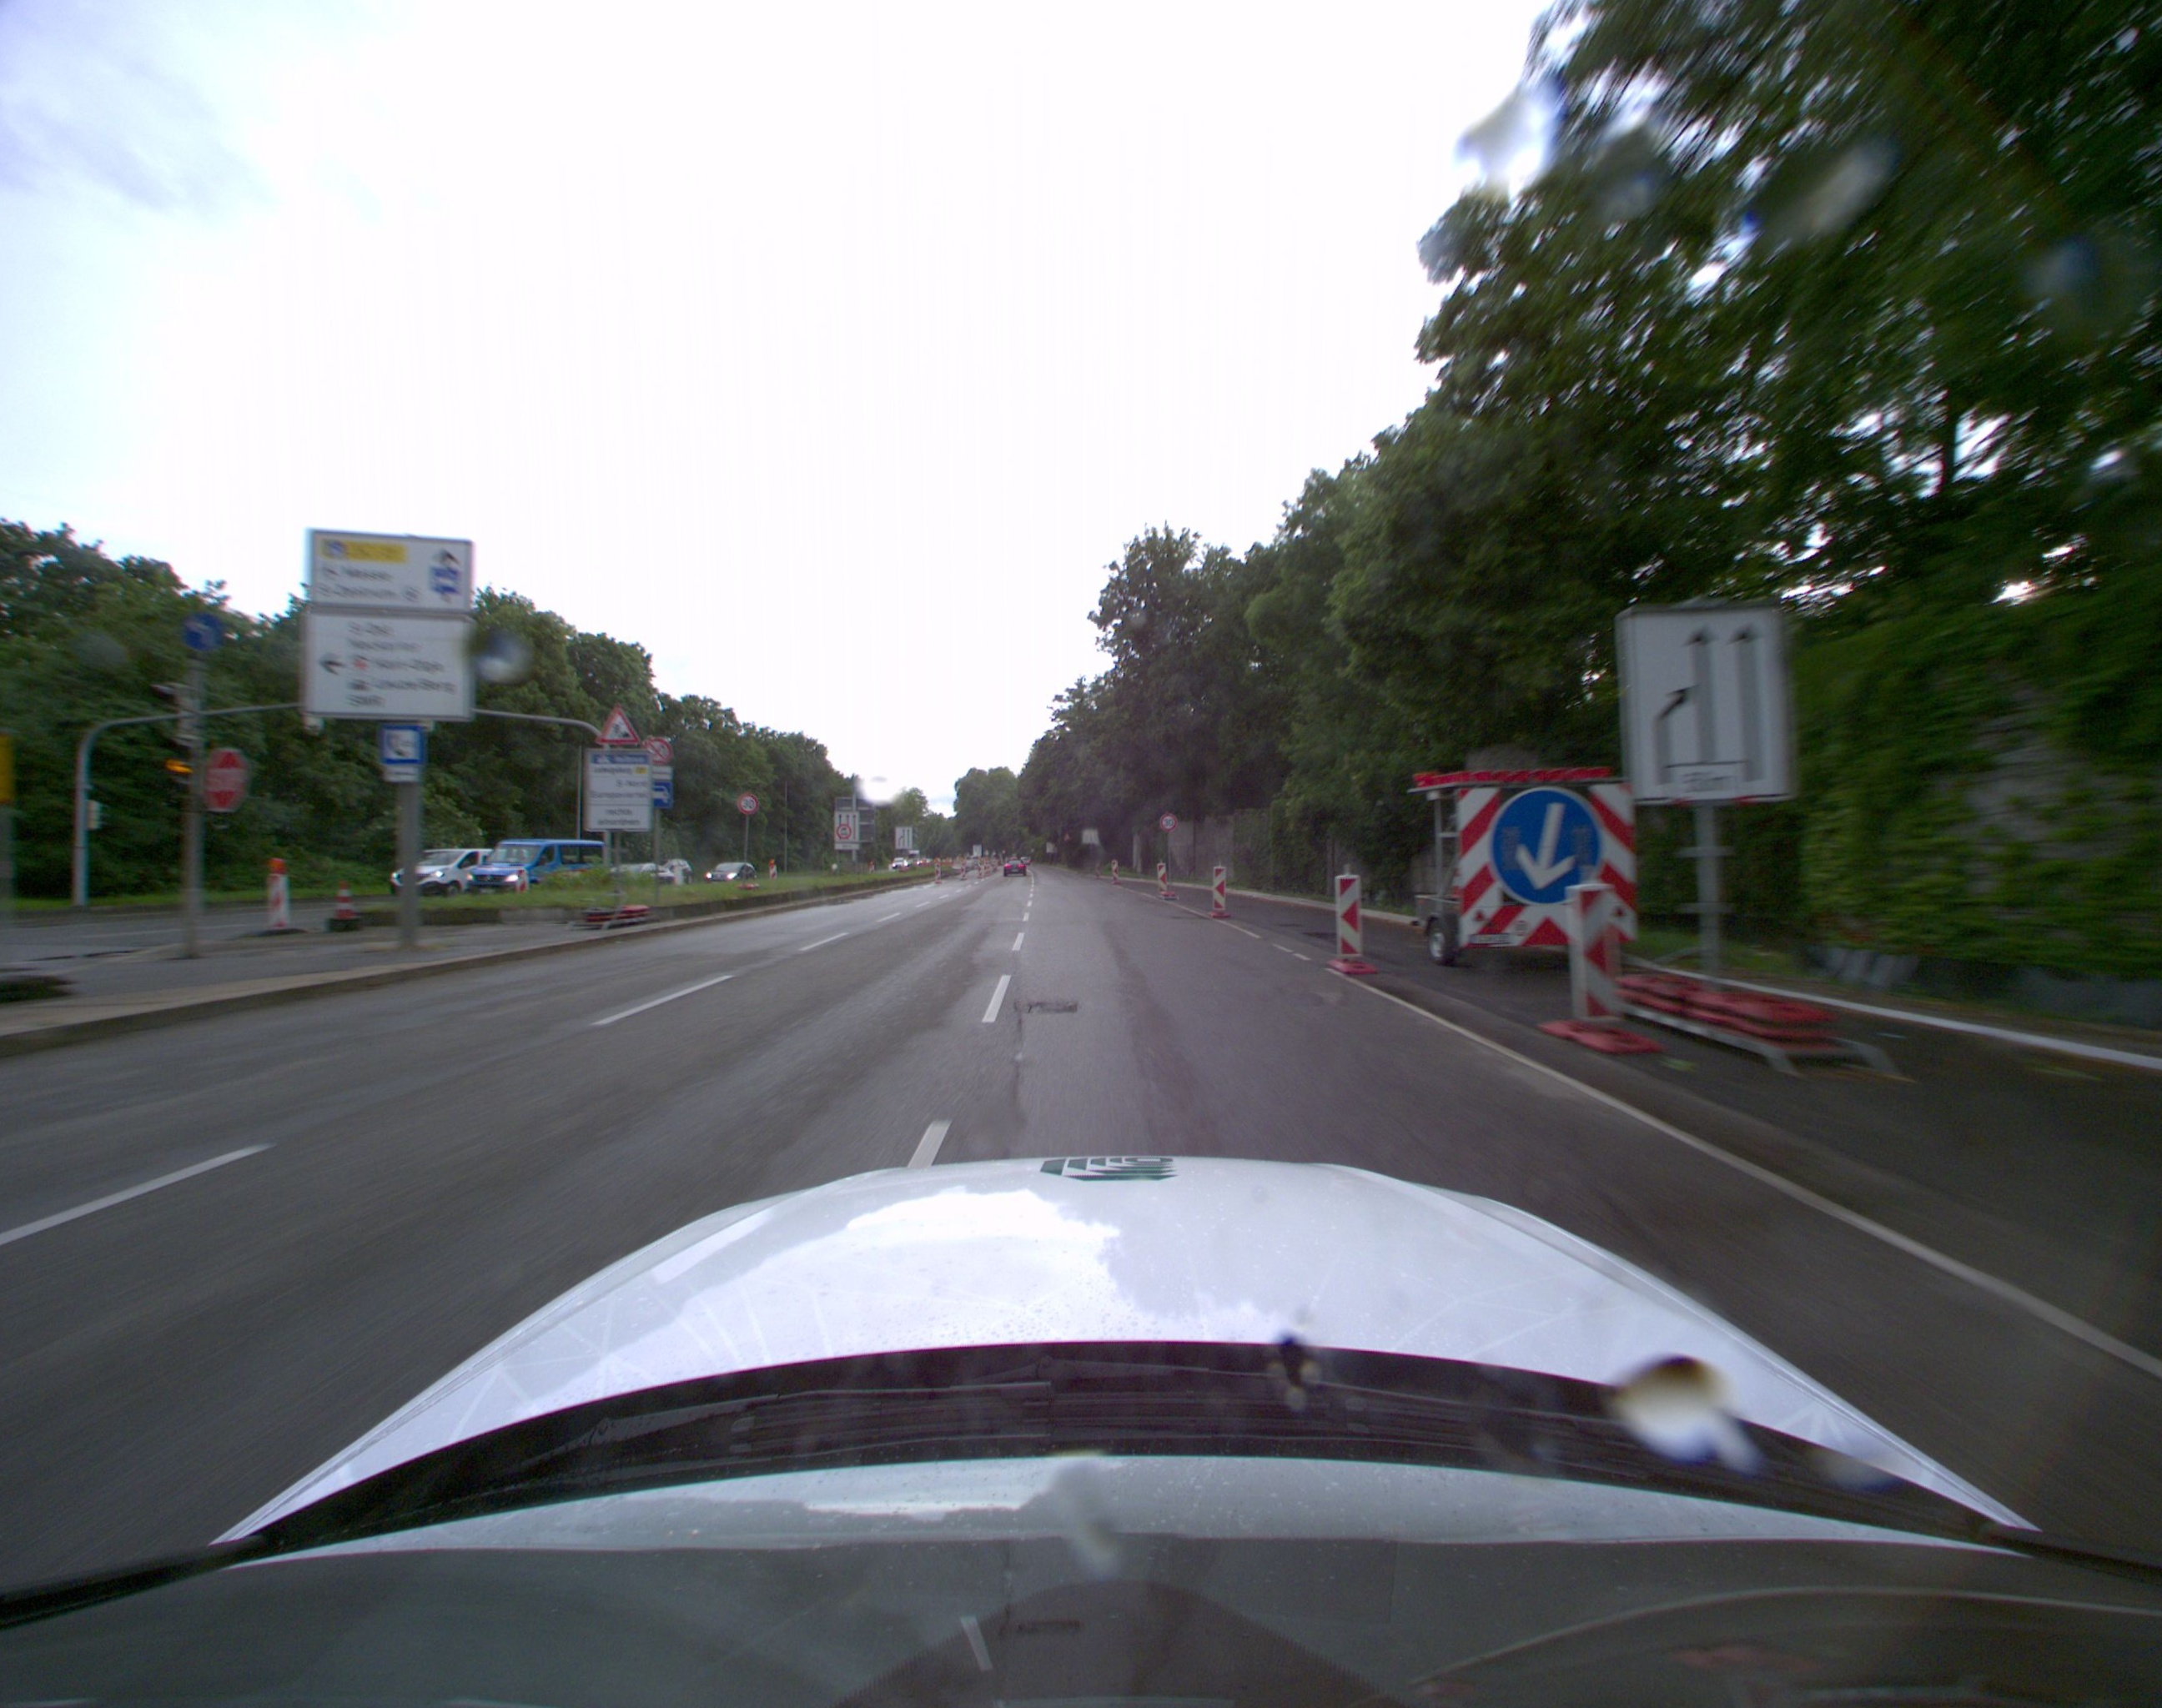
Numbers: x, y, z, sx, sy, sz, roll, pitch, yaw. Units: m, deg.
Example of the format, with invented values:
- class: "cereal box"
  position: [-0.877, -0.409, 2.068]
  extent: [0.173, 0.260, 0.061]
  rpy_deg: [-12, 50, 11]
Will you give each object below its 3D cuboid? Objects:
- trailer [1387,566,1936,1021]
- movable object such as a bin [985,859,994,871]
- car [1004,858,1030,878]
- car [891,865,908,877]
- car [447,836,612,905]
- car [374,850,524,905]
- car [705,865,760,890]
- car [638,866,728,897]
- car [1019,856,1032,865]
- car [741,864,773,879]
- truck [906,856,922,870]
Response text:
- class: "trailer"
  position: [5.746, -0.436, 9.514]
  extent: [2.298, 3.589, 5.964]
  rpy_deg: [-2, -1, 3]
- class: "movable object such as a bin"
  position: [-22.679, 2.825, 201.721]
  extent: [1.747, 2.867, 3.521]
  rpy_deg: [-2, -1, -11]
- class: "car"
  position: [-5.272, 1.154, 67.199]
  extent: [1.856, 1.491, 3.999]
  rpy_deg: [1, 1, -1]
- class: "car"
  position: [-29.039, 2.736, 130.476]
  extent: [1.911, 1.781, 4.825]
  rpy_deg: [0, 0, -5]
- class: "car"
  position: [-21.058, 0.589, 31.564]
  extent: [2.189, 2.390, 6.240]
  rpy_deg: [0, 0, -1]
- class: "car"
  position: [-24.384, 0.854, 31.724]
  extent: [2.029, 1.974, 4.987]
  rpy_deg: [0, 0, -1]
- class: "car"
  position: [-17.843, 1.192, 41.786]
  extent: [1.425, 1.200, 3.298]
  rpy_deg: [0, -1, -1]
- class: "car"
  position: [-16.303, 1.112, 33.621]
  extent: [1.545, 1.200, 4.642]
  rpy_deg: [0, -1, -2]
- class: "car"
  position: [-9.987, 1.158, 146.659]
  extent: [1.914, 1.598, 4.818]
  rpy_deg: [0, 0, -9]
- class: "car"
  position: [-24.008, 1.291, 60.327]
  extent: [1.266, 1.085, 2.792]
  rpy_deg: [1, 0, -1]
- class: "truck"
  position: [-39.554, 2.148, 193.070]
  extent: [2.791, 3.148, 10.127]
  rpy_deg: [-1, -1, -5]
